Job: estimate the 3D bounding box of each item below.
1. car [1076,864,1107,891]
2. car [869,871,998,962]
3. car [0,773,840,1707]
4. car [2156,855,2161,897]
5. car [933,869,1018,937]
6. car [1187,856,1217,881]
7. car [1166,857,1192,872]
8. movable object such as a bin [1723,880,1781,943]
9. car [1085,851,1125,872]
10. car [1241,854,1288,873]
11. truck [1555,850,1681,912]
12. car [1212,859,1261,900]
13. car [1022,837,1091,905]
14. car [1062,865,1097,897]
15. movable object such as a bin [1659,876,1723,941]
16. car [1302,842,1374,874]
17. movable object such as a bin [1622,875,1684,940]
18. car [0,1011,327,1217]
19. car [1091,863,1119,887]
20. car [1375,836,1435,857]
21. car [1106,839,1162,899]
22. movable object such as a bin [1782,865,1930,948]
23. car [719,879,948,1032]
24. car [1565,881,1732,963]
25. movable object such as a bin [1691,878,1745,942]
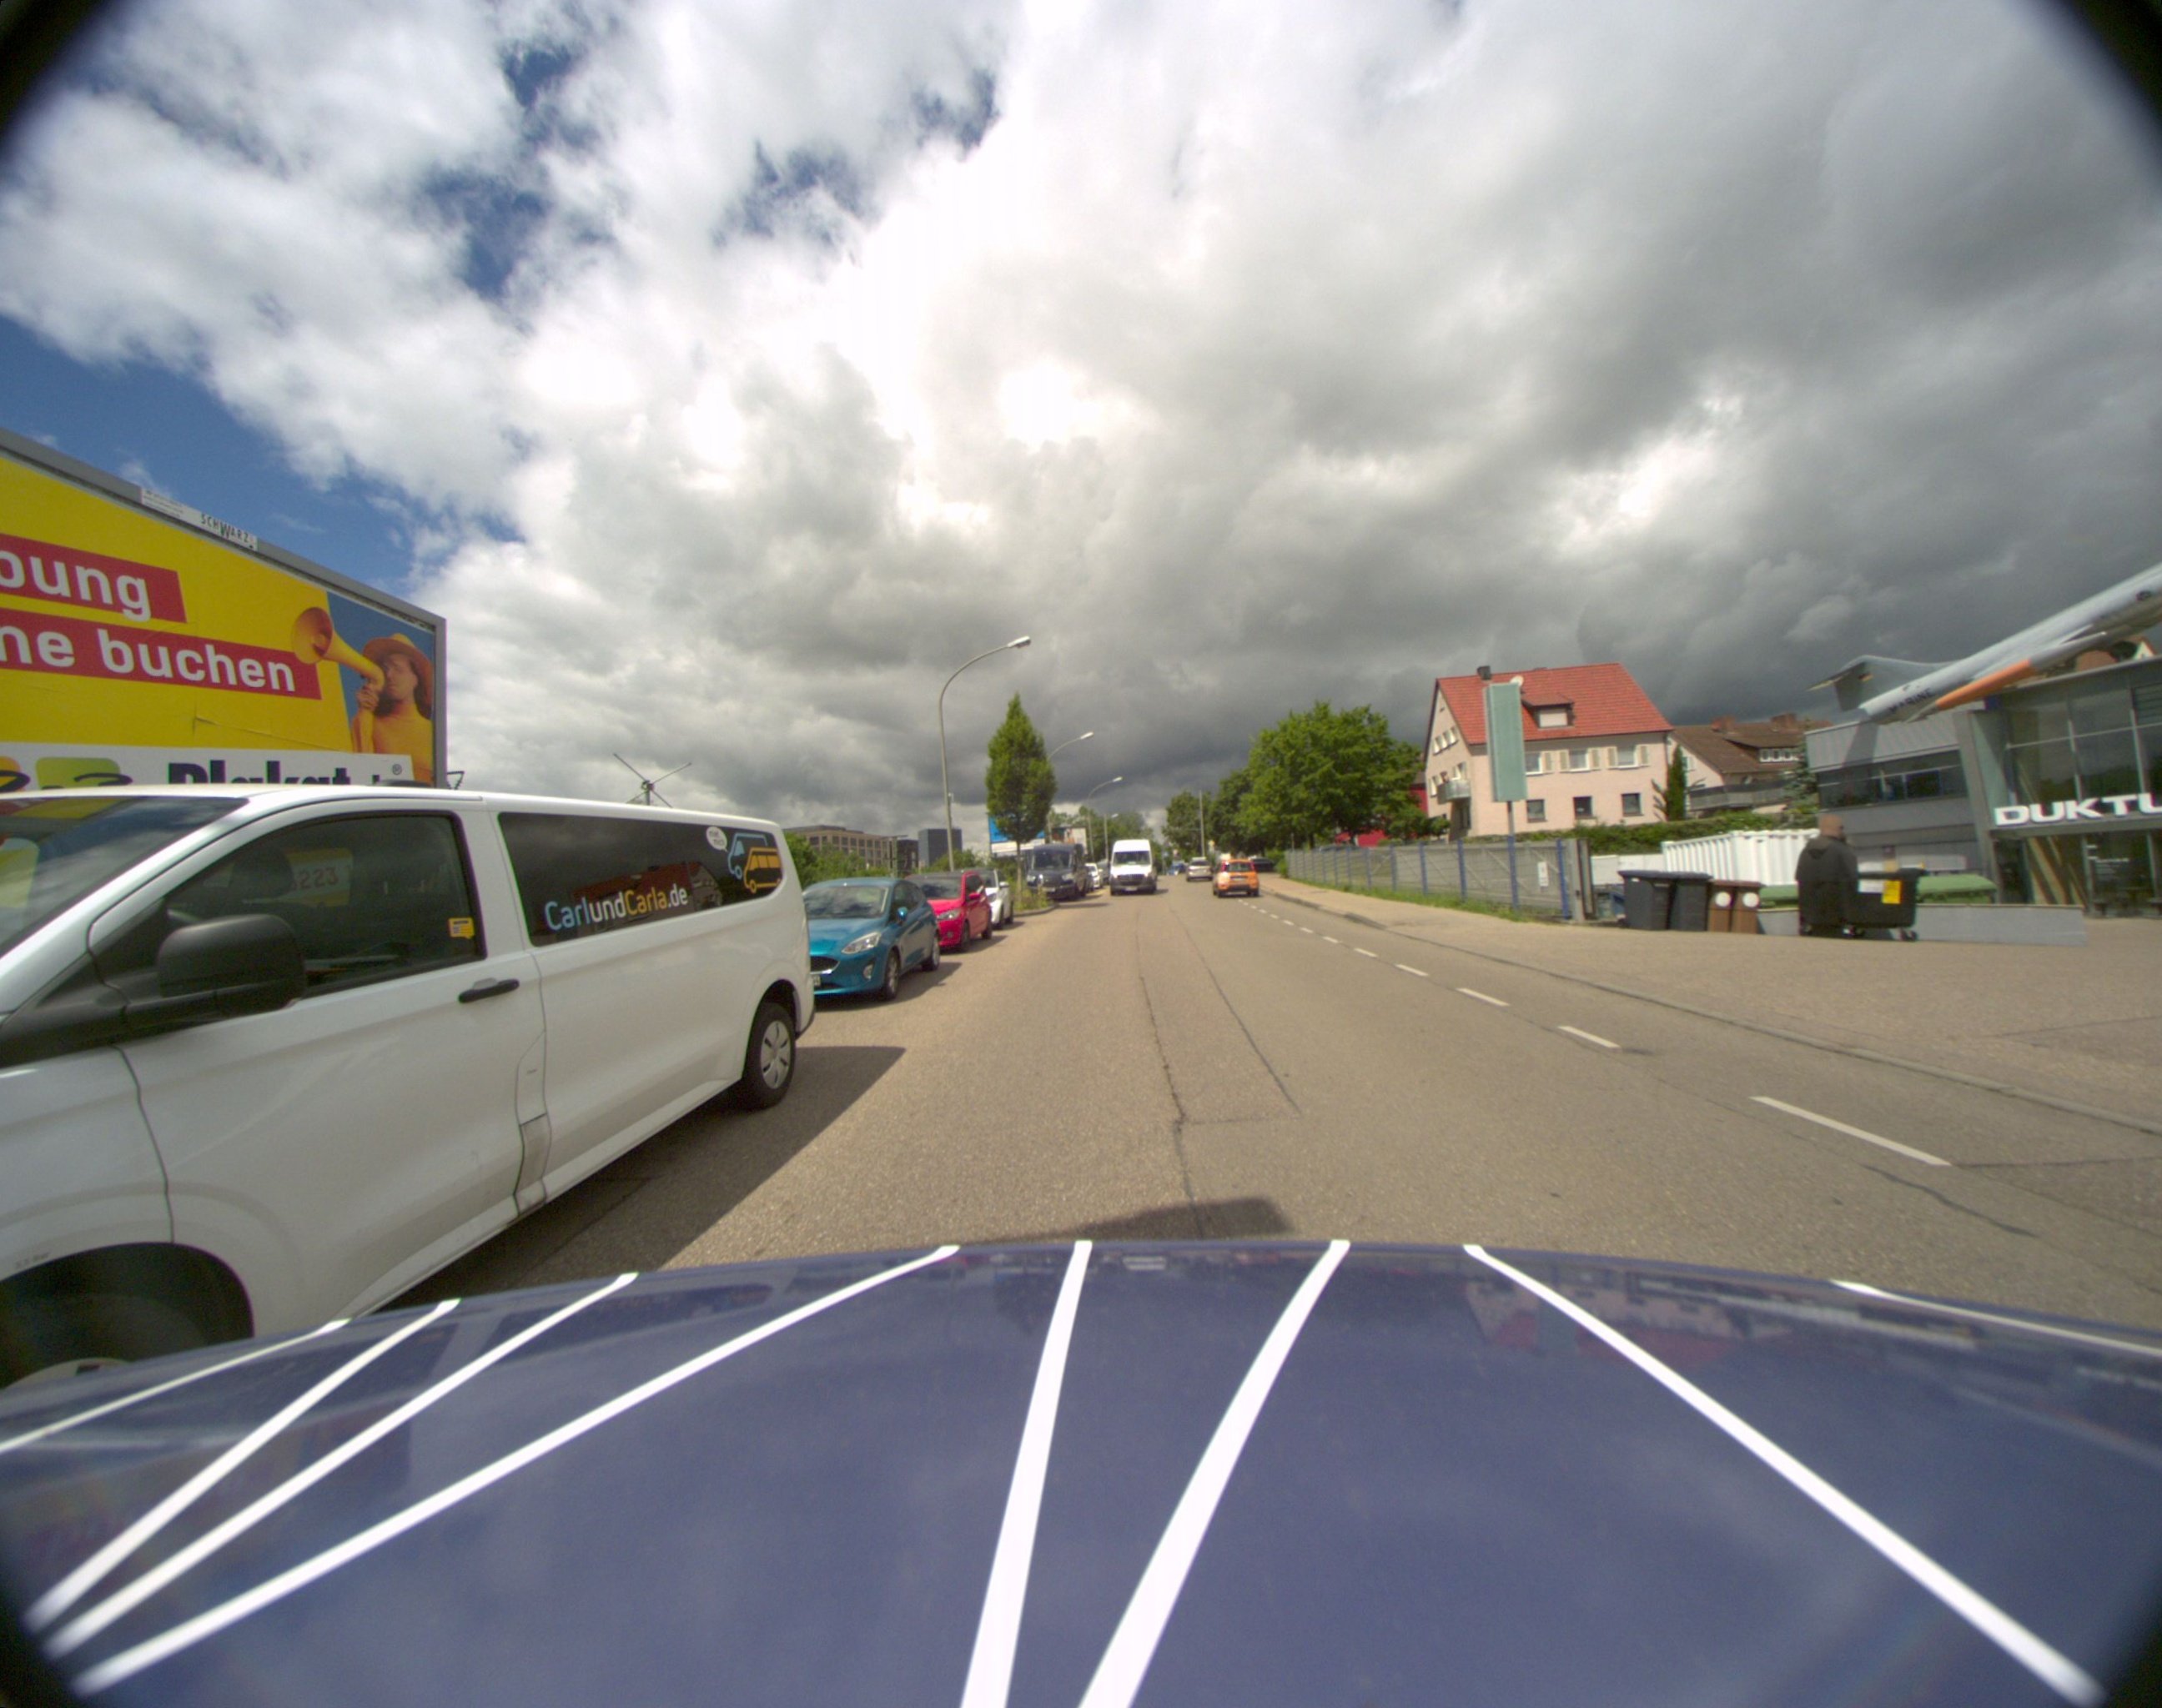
[{"bbox_3d":[0.658,1.339,44.413,1.401,1.424,3.446,-3,0,6],"label":"car"},{"bbox_3d":[-2.769,1.132,15.011,1.596,1.473,3.501,-3,0,4],"label":"car"},{"bbox_3d":[-3.099,0.883,3.312,1.979,1.992,5.548,-3,0,3],"label":"car"},{"bbox_3d":[33.219,0.735,21.158,4.622,1.765,1.859,-3,-4,-10],"label":"car"},{"bbox_3d":[-2.618,1.188,19.395,1.597,1.514,2.858,-3,0,2],"label":"car"},{"bbox_3d":[8.083,0.955,51.149,1.646,1.523,4.224,-3,0,5],"label":"car"},{"bbox_3d":[14.470,1.538,112.002,1.957,1.957,5.140,-3,0,28],"label":"car"},{"bbox_3d":[11.565,0.987,13.106,0.516,1.038,0.517,1,0,2],"label":"movable object such as a bin"},{"bbox_3d":[3.314,1.055,103.953,5.139,2.575,1.957,-3,0,-36],"label":"car"},{"bbox_3d":[16.301,0.848,67.550,3.854,1.497,1.587,-3,0,9],"label":"car"},{"bbox_3d":[26.266,1.220,37.562,2.321,2.716,6.597,-3,0,9],"label":"truck"},{"bbox_3d":[6.344,1.006,31.267,1.604,1.482,3.683,-3,0,6],"label":"car"},{"bbox_3d":[-0.922,0.664,32.767,2.059,2.579,5.737,-3,0,6],"label":"car"},{"bbox_3d":[-0.059,1.332,38.467,1.333,1.446,3.368,-3,0,6],"label":"car"},{"bbox_3d":[10.500,0.932,13.088,0.664,1.074,0.517,1,0,2],"label":"movable object such as a bin"},{"bbox_3d":[16.030,0.261,47.478,3.953,1.766,1.524,-3,0,2],"label":"car"},{"bbox_3d":[9.894,0.915,13.150,0.664,1.074,0.517,1,0,2],"label":"movable object such as a bin"},{"bbox_3d":[-11.625,2.938,8.367,1.820,1.433,4.557,-2,0,5],"label":"car"},{"bbox_3d":[1.646,1.355,50.792,1.521,1.446,3.959,-3,0,6],"label":"car"},{"bbox_3d":[25.702,-0.577,60.375,4.015,1.497,1.587,-3,0,9],"label":"car"},{"bbox_3d":[2.674,0.635,36.594,2.081,2.575,6.066,-3,0,9],"label":"car"},{"bbox_3d":[13.024,0.845,12.828,1.223,1.299,1.232,1,0,2],"label":"movable object such as a bin"},{"bbox_3d":[-2.978,1.139,10.043,1.597,1.442,3.979,-3,0,1],"label":"car"},{"bbox_3d":[12.288,1.407,16.709,1.434,1.451,3.364,-3,0,7],"label":"car"},{"bbox_3d":[11.059,0.963,13.209,0.503,1.054,0.498,1,0,2],"label":"movable object such as a bin"}]
